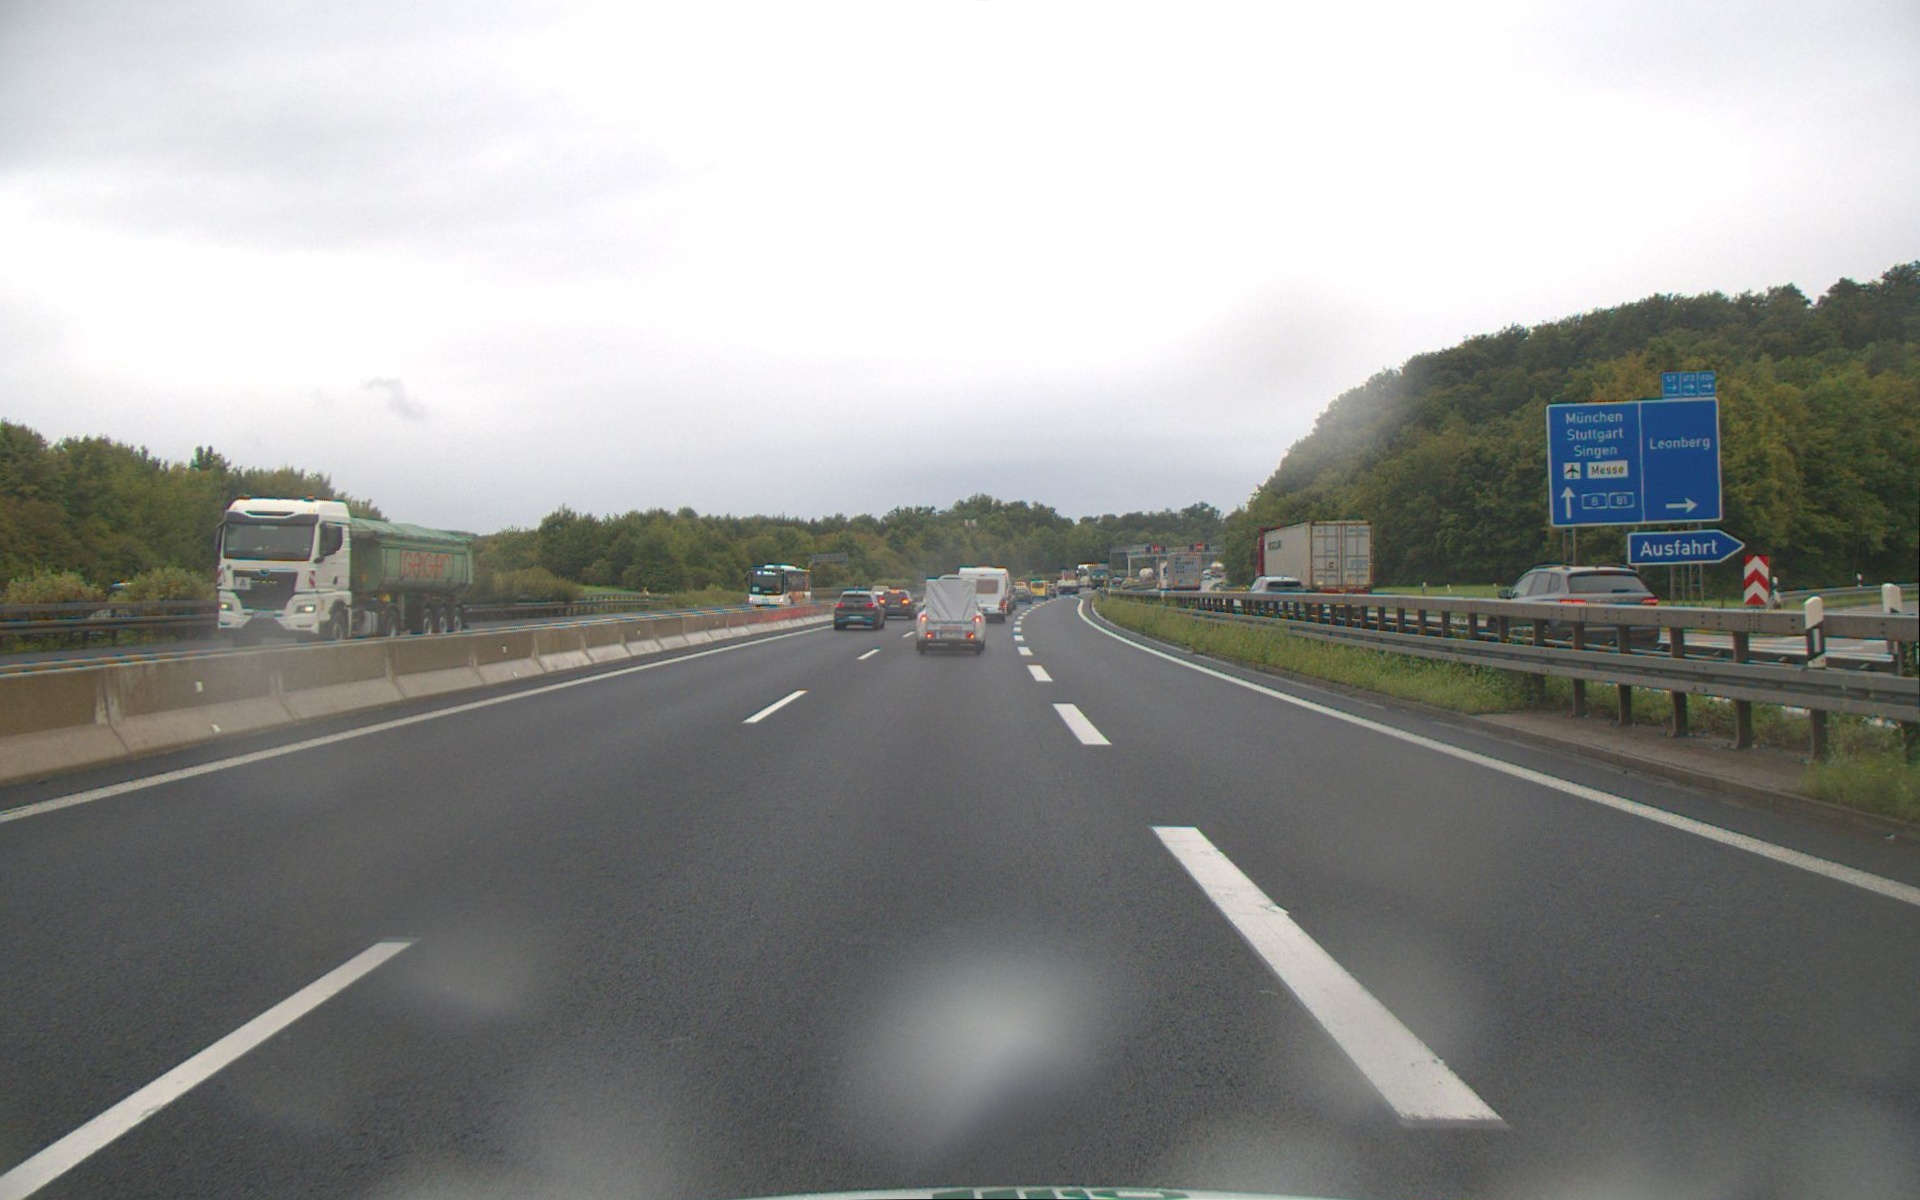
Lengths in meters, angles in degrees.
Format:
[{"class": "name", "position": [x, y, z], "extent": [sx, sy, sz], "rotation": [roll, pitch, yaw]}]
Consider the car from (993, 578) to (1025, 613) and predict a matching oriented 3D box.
[{"class": "car", "position": [3.011, -0.255, 100.610], "extent": [1.640, 2.103, 4.003], "rotation": [0, 0, 5]}]

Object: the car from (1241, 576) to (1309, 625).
[{"class": "car", "position": [11.000, 0.009, 58.004], "extent": [1.733, 1.638, 4.645], "rotation": [0, 0, 3]}]

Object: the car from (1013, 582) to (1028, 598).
[{"class": "car", "position": [7.833, -1.228, 213.841], "extent": [1.952, 2.049, 4.001], "rotation": [0, 0, 2]}]

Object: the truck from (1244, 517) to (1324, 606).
[{"class": "truck", "position": [14.932, -1.715, 76.528], "extent": [2.562, 3.952, 6.393], "rotation": [0, 0, 1]}]

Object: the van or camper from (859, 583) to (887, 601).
[{"class": "van or camper", "position": [-7.723, -0.692, 146.944], "extent": [1.711, 1.473, 4.589], "rotation": [-2, 0, 7]}]

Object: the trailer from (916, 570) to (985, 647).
[{"class": "trailer", "position": [-0.225, 0.209, 41.593], "extent": [1.641, 1.844, 4.000], "rotation": [0, 0, 0]}]

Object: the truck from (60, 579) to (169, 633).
[{"class": "truck", "position": [-37.672, 0.230, 73.897], "extent": [1.985, 2.281, 6.156], "rotation": [-1, 0, -3]}]

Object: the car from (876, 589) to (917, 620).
[{"class": "car", "position": [-3.161, 0.217, 83.349], "extent": [1.728, 1.481, 4.001], "rotation": [0, 0, 2]}]

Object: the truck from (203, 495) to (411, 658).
[{"class": "truck", "position": [-16.353, -0.549, 41.904], "extent": [2.827, 3.814, 5.945], "rotation": [0, 0, 1]}]

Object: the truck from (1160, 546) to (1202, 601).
[{"class": "truck", "position": [19.856, -2.297, 149.564], "extent": [3.147, 4.748, 13.040], "rotation": [0, 0, 5]}]

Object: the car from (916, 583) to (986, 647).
[{"class": "car", "position": [-0.193, 0.396, 45.072], "extent": [1.781, 1.644, 4.778], "rotation": [0, 0, 1]}]

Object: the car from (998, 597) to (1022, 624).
[{"class": "car", "position": [3.545, 0.735, 117.639], "extent": [1.641, 1.844, 4.000], "rotation": [0, 0, 1]}]

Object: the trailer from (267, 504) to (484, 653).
[{"class": "trailer", "position": [-16.267, -0.545, 46.862], "extent": [2.843, 3.814, 8.928], "rotation": [0, 0, 1]}]

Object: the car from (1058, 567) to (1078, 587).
[{"class": "car", "position": [14.931, -3.177, 228.368], "extent": [2.462, 2.620, 5.315], "rotation": [0, 0, 6]}]

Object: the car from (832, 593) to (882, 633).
[{"class": "car", "position": [-3.941, 0.475, 63.886], "extent": [1.641, 1.481, 4.000], "rotation": [0, 0, 0]}]

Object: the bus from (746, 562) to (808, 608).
[{"class": "bus", "position": [-13.214, -1.042, 120.371], "extent": [2.643, 3.010, 11.901], "rotation": [-3, 0, 2]}]

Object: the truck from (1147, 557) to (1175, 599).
[{"class": "truck", "position": [23.673, -2.548, 194.379], "extent": [3.147, 4.748, 13.042], "rotation": [0, 0, 7]}]

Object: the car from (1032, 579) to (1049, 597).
[{"class": "car", "position": [8.544, -1.270, 175.285], "extent": [1.640, 1.844, 4.002], "rotation": [0, 0, 5]}]

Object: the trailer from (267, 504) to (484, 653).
[{"class": "trailer", "position": [-16.267, -0.545, 46.862], "extent": [2.843, 3.814, 8.928], "rotation": [0, 0, 1]}]

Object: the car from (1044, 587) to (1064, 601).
[{"class": "car", "position": [11.121, -0.711, 195.193], "extent": [1.994, 1.712, 4.003], "rotation": [0, 0, 8]}]

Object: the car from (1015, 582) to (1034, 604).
[{"class": "car", "position": [5.690, -0.605, 146.298], "extent": [1.641, 1.844, 4.000], "rotation": [0, 0, 1]}]

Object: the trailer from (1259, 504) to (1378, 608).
[{"class": "trailer", "position": [14.836, -1.679, 69.450], "extent": [2.550, 3.962, 12.492], "rotation": [0, 0, 1]}]

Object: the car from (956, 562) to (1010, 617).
[{"class": "car", "position": [1.160, -0.493, 80.981], "extent": [2.455, 2.630, 5.701], "rotation": [0, 0, 3]}]

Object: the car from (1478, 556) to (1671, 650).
[{"class": "car", "position": [10.306, 0.045, 28.061], "extent": [1.633, 1.407, 4.125], "rotation": [-2, 0, -1]}]

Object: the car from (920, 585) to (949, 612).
[{"class": "car", "position": [-1.589, -0.088, 105.004], "extent": [1.739, 1.669, 4.043], "rotation": [0, 0, 0]}]
